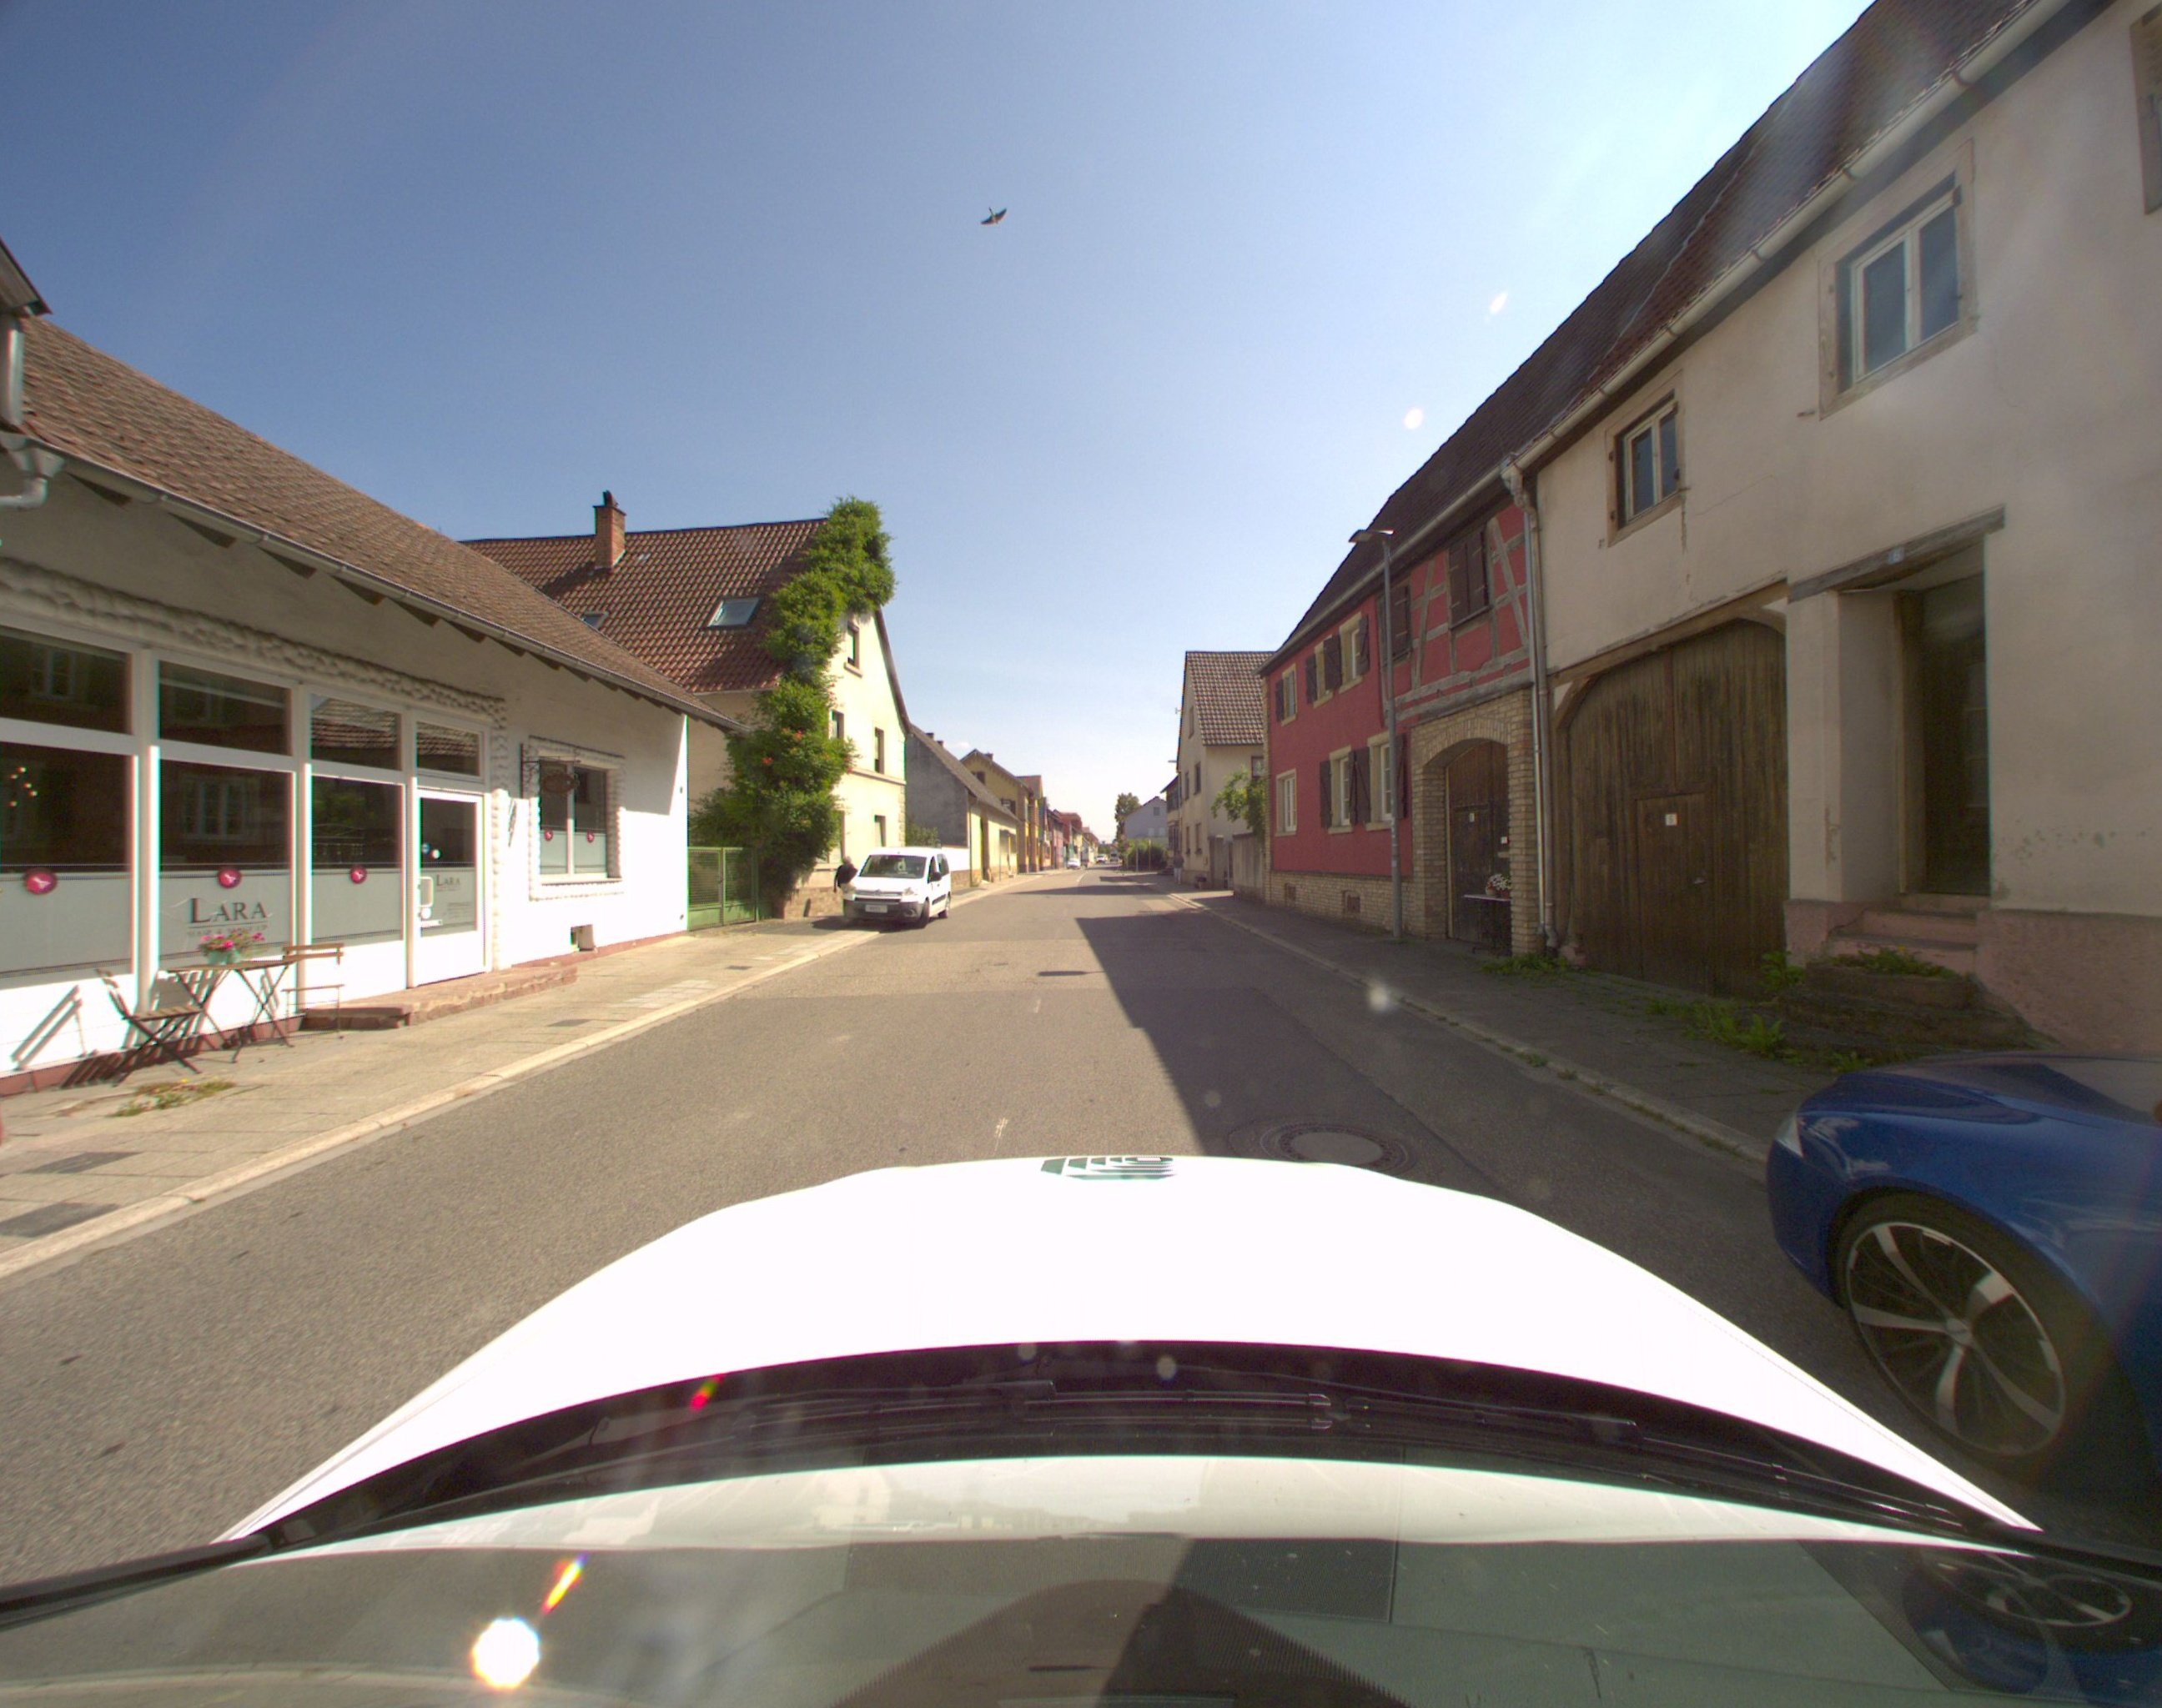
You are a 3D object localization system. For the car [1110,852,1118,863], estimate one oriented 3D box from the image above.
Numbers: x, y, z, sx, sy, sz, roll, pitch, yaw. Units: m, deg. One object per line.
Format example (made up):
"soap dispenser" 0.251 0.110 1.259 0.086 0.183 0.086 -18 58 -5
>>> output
"car" 8.459 0.873 208.031 2.010 2.568 4.000 -1 0 0

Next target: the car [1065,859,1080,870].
"car" -1.145 1.478 113.610 1.986 1.442 4.001 -1 0 1

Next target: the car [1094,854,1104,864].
"car" 4.083 1.048 181.279 2.151 2.080 3.999 -1 -2 0

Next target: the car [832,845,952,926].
"car" -4.251 0.657 19.018 1.850 1.647 4.427 1 0 -1

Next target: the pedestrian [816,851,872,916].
"pedestrian" -5.865 0.711 20.214 1.010 1.552 1.140 0 0 1

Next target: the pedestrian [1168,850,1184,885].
"pedestrian" 4.627 0.657 39.610 0.715 1.664 0.893 0 0 4

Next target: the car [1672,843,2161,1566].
"car" 3.102 0.712 0.802 1.694 1.469 4.406 -2 0 -2

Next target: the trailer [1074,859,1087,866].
"trailer" -0.086 1.353 130.412 1.987 1.090 3.999 -1 0 0
